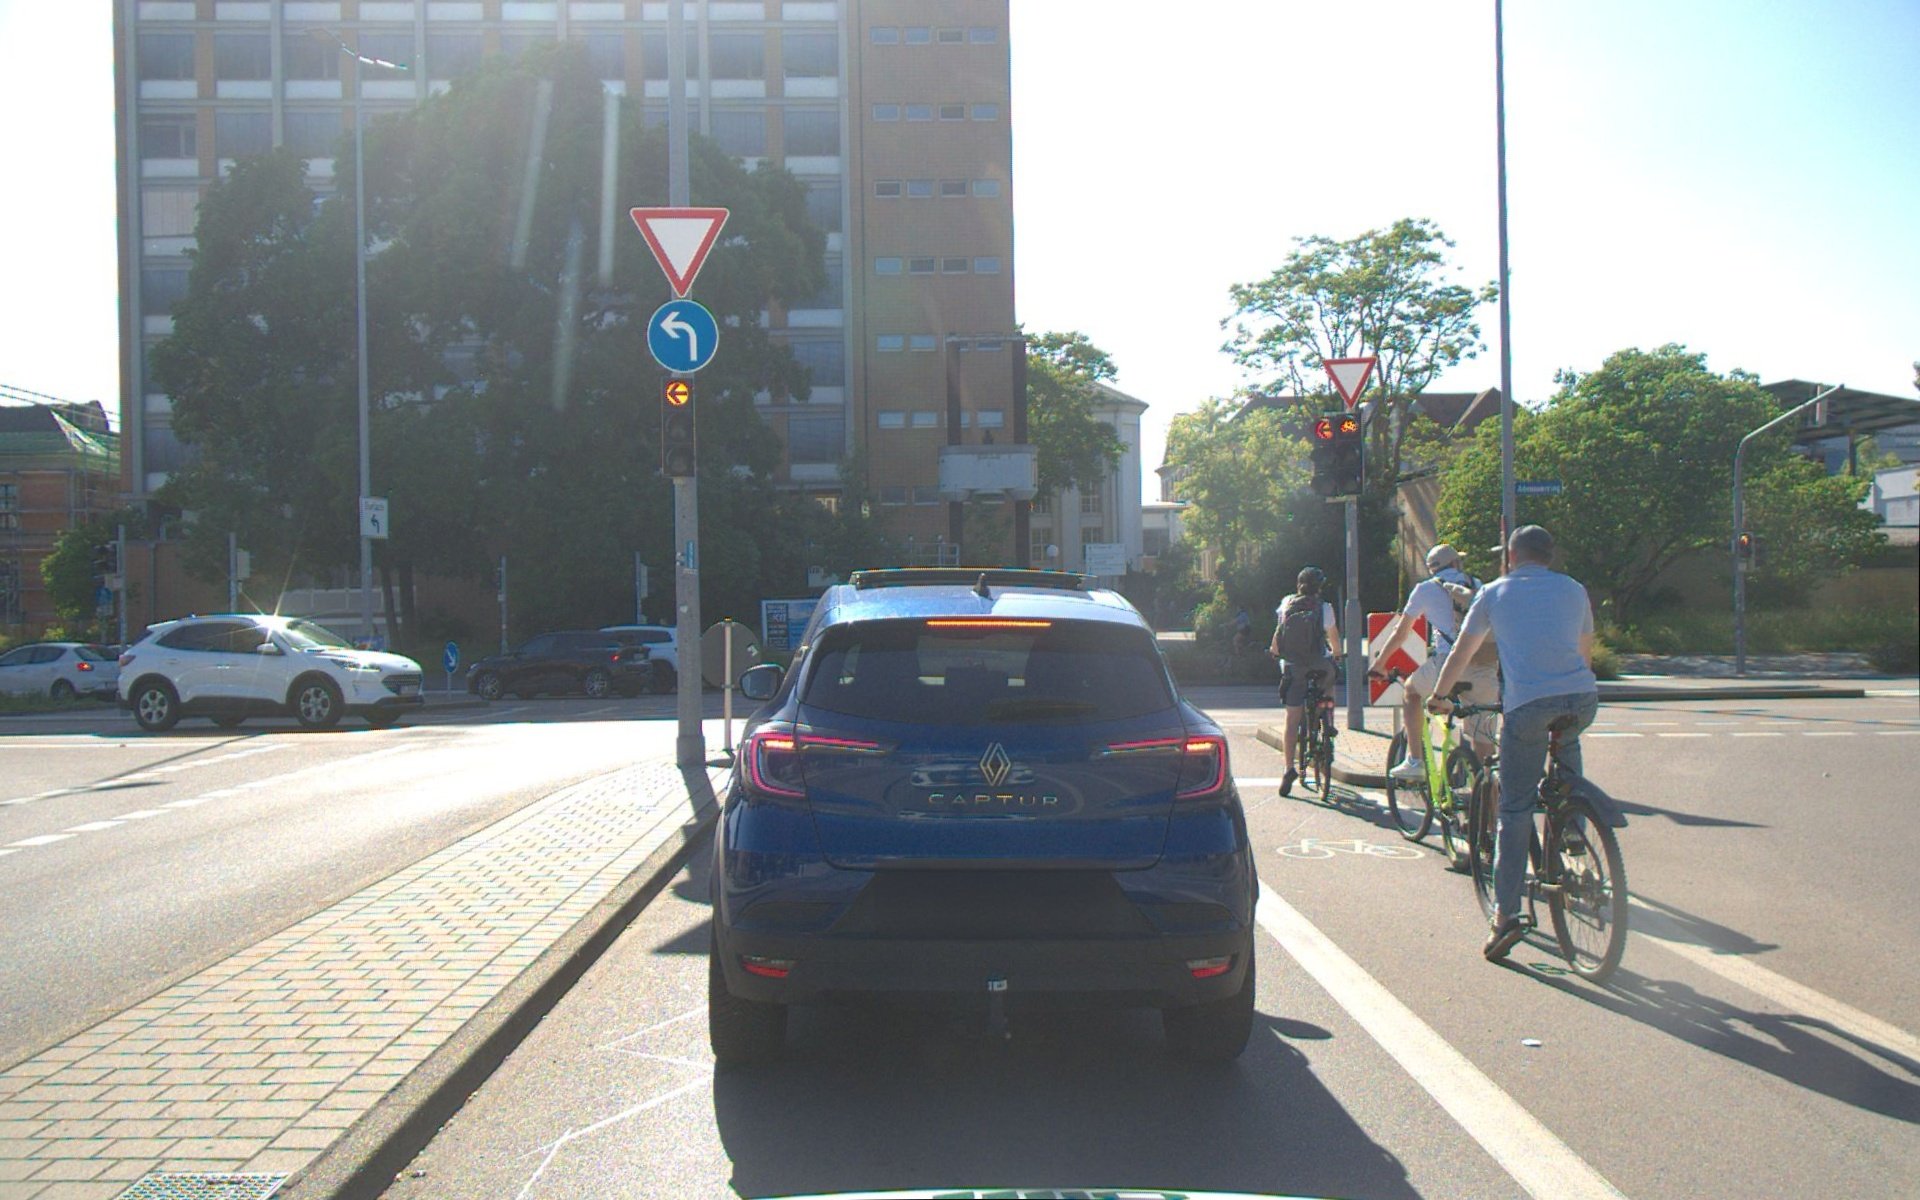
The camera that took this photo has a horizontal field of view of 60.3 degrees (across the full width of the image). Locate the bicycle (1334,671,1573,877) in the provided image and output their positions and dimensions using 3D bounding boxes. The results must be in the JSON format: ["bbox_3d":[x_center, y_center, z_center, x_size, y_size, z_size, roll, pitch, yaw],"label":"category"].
[{"bbox_3d":[2.868,0.976,9.840,0.646,1.020,1.967,1,0,-6],"label":"bicycle"}]

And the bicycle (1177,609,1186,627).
[{"bbox_3d":[12.675,1.033,94.585,0.397,0.990,1.684,1,0,3],"label":"bicycle"}]

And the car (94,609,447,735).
[{"bbox_3d":[-10.193,1.083,24.541,4.586,1.647,1.845,-3,-3,12],"label":"car"}]

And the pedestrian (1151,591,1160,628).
[{"bbox_3d":[10.777,0.516,91.203,0.465,2.049,0.523,-1,0,5],"label":"pedestrian"}]

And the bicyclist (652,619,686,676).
[{"bbox_3d":[-7.675,1.240,43.640,0.728,1.466,0.593,-1,0,-27],"label":"bicyclist"}]

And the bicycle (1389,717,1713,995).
[{"bbox_3d":[2.500,1.039,7.269,0.725,0.911,1.978,1,0,0],"label":"bicycle"}]

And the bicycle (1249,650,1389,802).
[{"bbox_3d":[2.758,0.934,12.919,0.723,1.012,2.174,1,0,3],"label":"bicycle"}]

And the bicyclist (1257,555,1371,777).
[{"bbox_3d":[2.757,0.499,12.970,0.711,1.657,0.969,1,0,3],"label":"bicyclist"}]

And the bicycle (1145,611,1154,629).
[{"bbox_3d":[10.790,1.145,94.218,0.397,0.990,1.684,1,0,3],"label":"bicycle"}]

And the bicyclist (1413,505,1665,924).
[{"bbox_3d":[2.506,0.470,7.266,0.736,1.698,1.016,1,0,0],"label":"bicyclist"}]

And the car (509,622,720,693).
[{"bbox_3d":[-8.464,1.410,40.614,4.721,1.660,1.845,-1,0,14],"label":"car"}]

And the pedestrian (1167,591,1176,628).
[{"bbox_3d":[11.822,0.539,92.558,0.465,2.049,0.468,-1,0,5],"label":"pedestrian"}]

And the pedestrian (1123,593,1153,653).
[{"bbox_3d":[4.899,0.633,45.485,0.721,1.631,0.599,-1,0,12],"label":"pedestrian"}]

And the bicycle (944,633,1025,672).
[{"bbox_3d":[0.663,1.395,44.003,2.037,0.946,0.697,-2,1,10],"label":"bicycle"}]

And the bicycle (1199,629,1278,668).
[{"bbox_3d":[7.358,1.274,43.742,2.032,0.981,0.599,-1,0,10],"label":"bicycle"}]

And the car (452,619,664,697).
[{"bbox_3d":[-9.075,1.306,37.449,4.279,1.660,1.845,-1,0,14],"label":"car"}]

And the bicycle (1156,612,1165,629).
[{"bbox_3d":[11.399,1.156,94.184,0.397,0.990,1.684,1,0,3],"label":"bicycle"}]

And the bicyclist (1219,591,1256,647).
[{"bbox_3d":[7.339,0.506,43.788,0.916,1.454,0.599,-1,0,8],"label":"bicyclist"}]

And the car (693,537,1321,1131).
[{"bbox_3d":[0.058,0.666,6.677,1.767,1.660,3.998,1,0,-3],"label":"car"}]

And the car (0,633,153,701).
[{"bbox_3d":[-20.741,1.529,37.925,3.754,1.460,1.744,-1,0,14],"label":"car"}]

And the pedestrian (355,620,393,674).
[{"bbox_3d":[-18.238,1.455,51.468,0.842,1.598,0.560,-4,0,16],"label":"pedestrian"}]

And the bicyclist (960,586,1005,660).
[{"bbox_3d":[0.608,0.607,44.031,1.078,1.899,0.653,-1,1,10],"label":"bicyclist"}]

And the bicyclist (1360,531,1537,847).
[{"bbox_3d":[2.880,0.507,9.836,0.633,1.769,1.065,1,0,-6],"label":"bicyclist"}]

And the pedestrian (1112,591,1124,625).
[{"bbox_3d":[8.837,0.436,92.364,0.611,1.888,0.563,-1,0,1],"label":"pedestrian"}]
